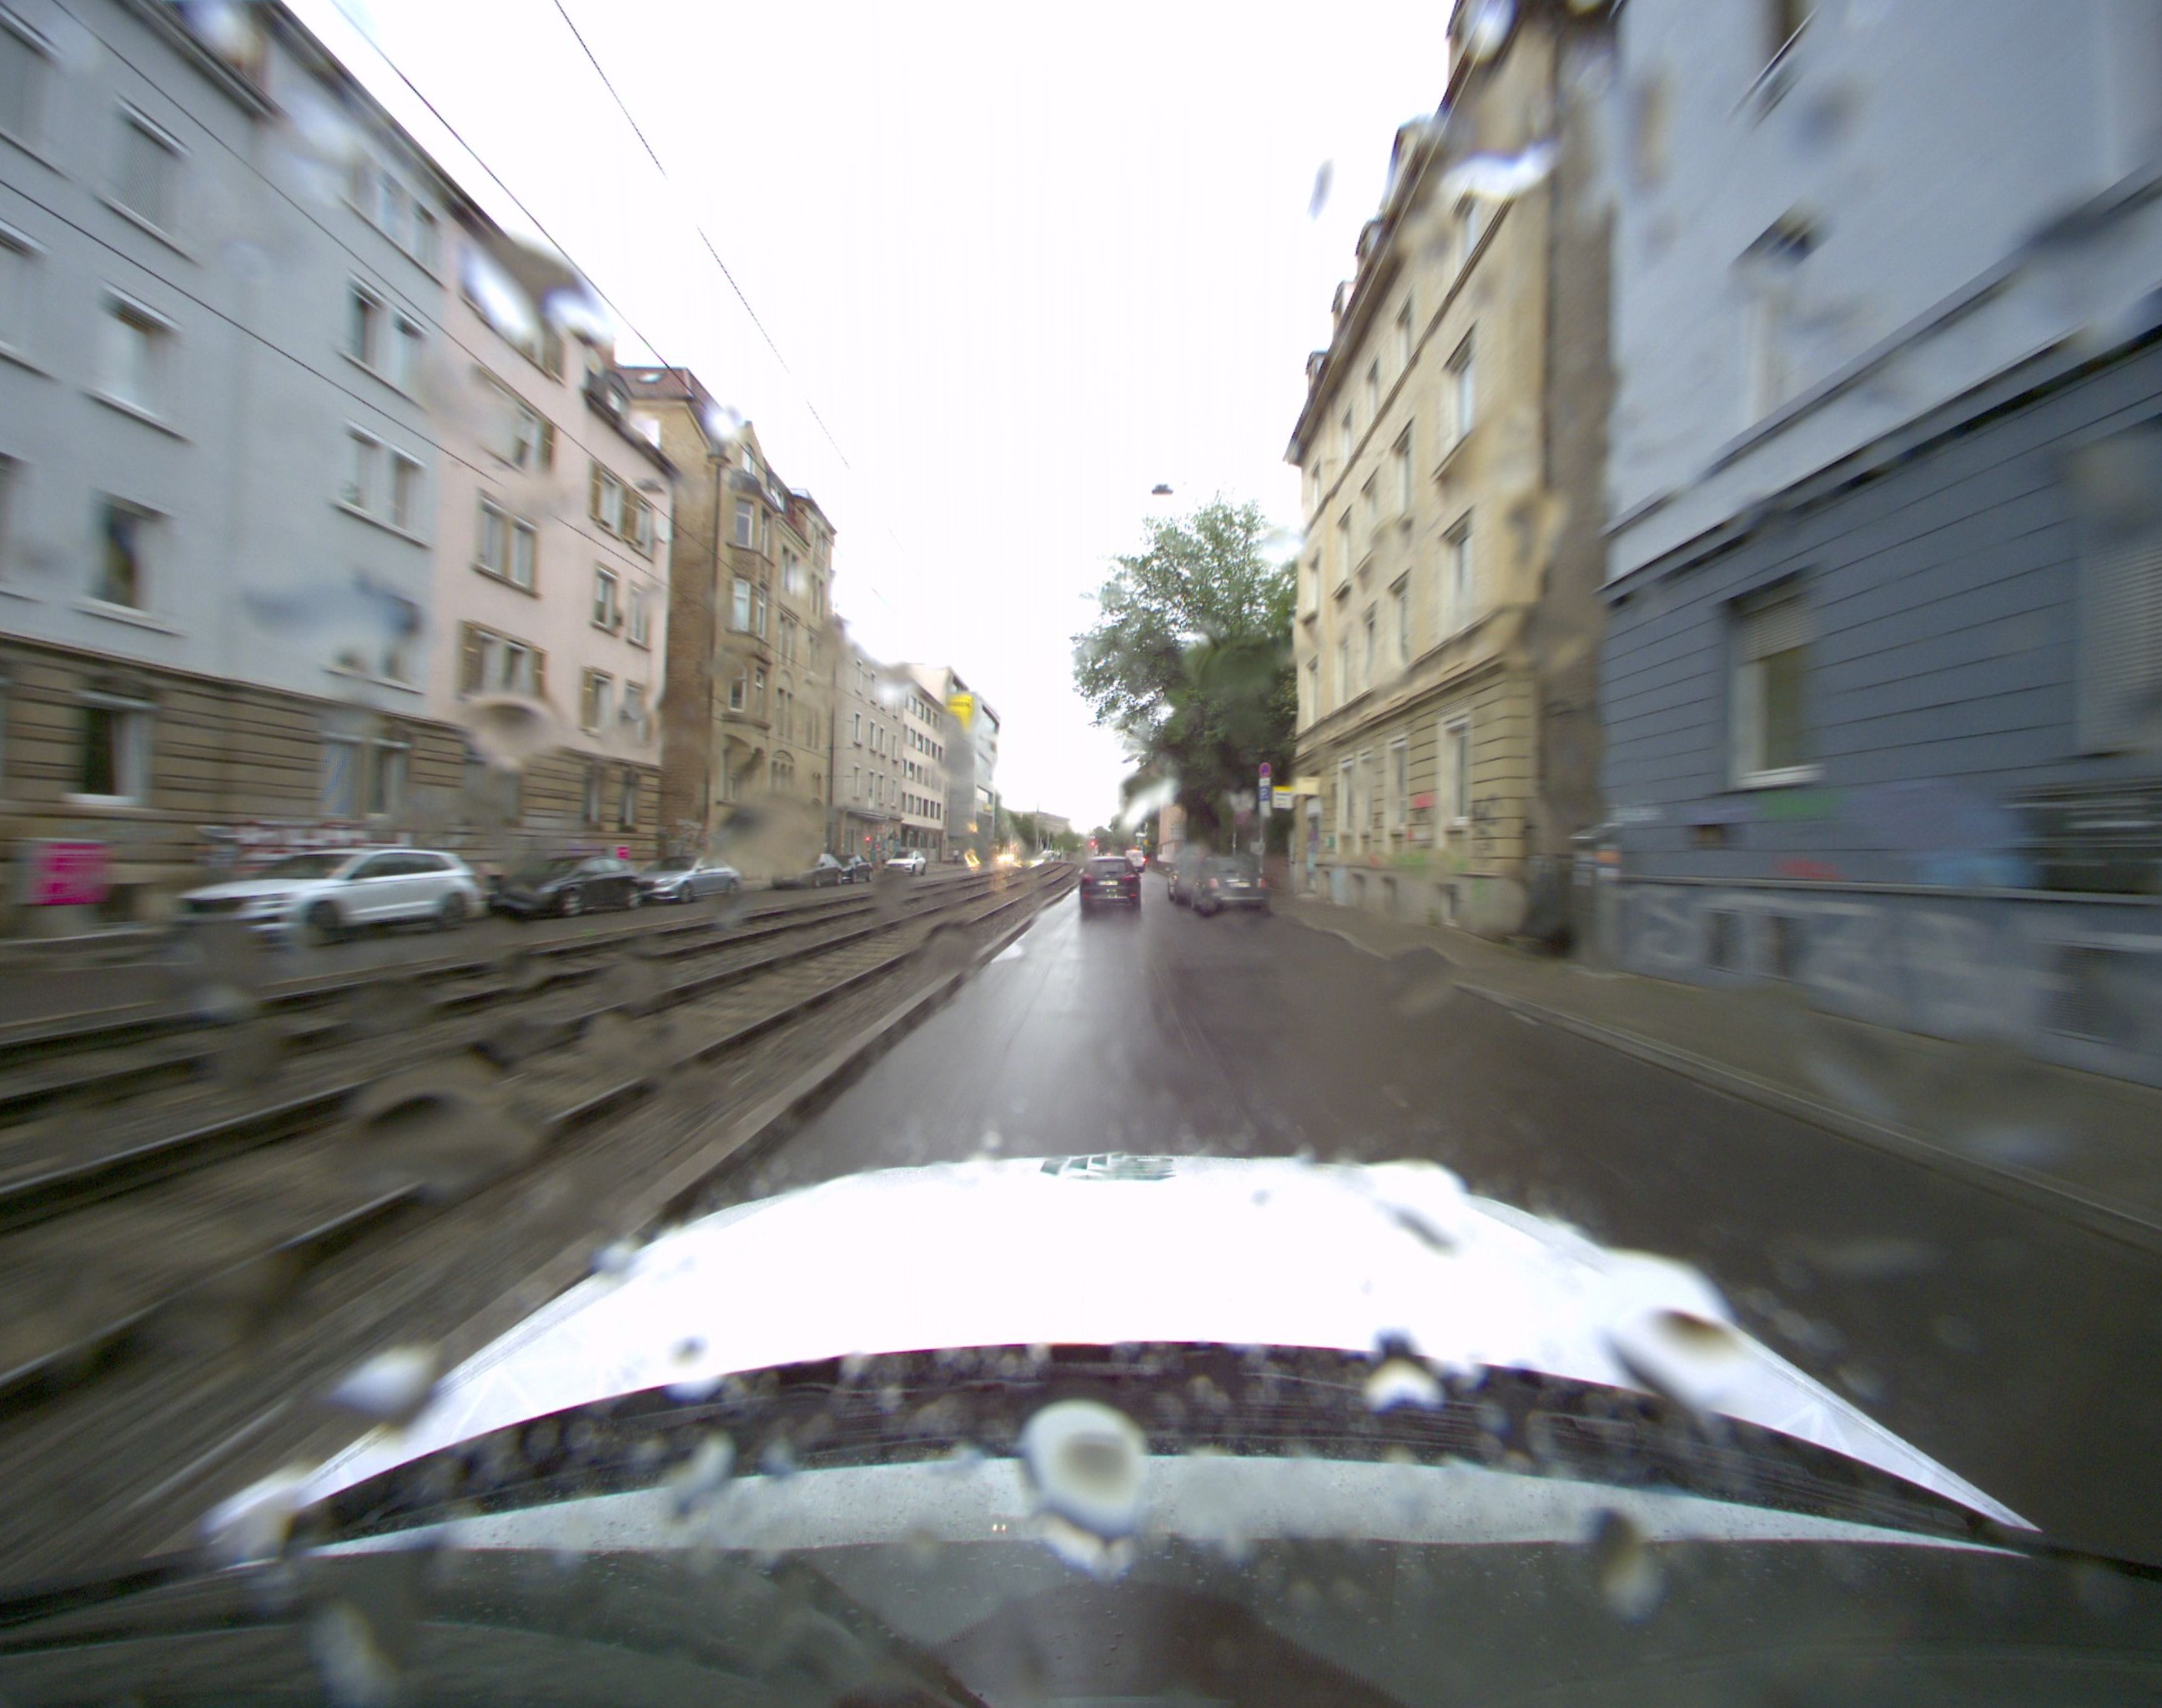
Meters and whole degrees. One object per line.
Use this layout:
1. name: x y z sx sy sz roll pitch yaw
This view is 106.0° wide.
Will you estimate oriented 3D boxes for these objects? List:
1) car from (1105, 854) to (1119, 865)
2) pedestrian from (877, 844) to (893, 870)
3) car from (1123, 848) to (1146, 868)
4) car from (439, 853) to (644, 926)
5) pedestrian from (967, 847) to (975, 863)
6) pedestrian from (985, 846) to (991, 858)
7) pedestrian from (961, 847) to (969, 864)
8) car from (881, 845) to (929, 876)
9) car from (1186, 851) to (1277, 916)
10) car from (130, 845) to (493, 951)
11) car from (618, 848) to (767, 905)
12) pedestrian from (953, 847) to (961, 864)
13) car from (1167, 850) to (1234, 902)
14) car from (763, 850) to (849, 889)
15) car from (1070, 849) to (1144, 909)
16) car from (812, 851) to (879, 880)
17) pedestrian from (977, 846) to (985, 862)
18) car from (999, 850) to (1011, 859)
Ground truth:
1. car: 4.543 0.797 120.383 1.985 1.594 4.273 1 -1 2
2. pedestrian: -13.744 0.214 57.110 0.799 1.750 0.984 1 0 1
3. car: 4.834 0.400 74.301 1.985 1.816 4.273 1 -1 2
4. car: -12.744 0.769 19.642 1.986 1.519 4.211 2 0 2
5. pedestrian: -12.805 0.072 95.049 0.741 1.854 0.839 0 -2 1
6. pedestrian: -14.353 -0.341 125.444 0.741 1.854 0.839 0 -2 1
7. pedestrian: -12.678 0.141 88.926 0.741 1.854 0.839 0 -2 1
8. car: -11.413 0.400 53.163 1.987 1.839 5.069 2 0 0
9. car: 3.844 0.693 21.396 1.732 1.489 4.001 1 0 1
10. car: -12.968 0.657 14.244 1.986 1.519 4.437 2 0 2
11. car: -11.718 0.632 25.043 1.986 1.519 4.994 2 0 2
12. pedestrian: -13.507 0.165 88.934 0.741 1.854 0.839 0 -2 1
13. car: 3.743 0.644 26.119 1.637 1.516 4.040 1 0 1
14. car: -11.946 0.641 35.701 1.986 1.519 4.678 2 0 2
15. car: 0.796 0.704 24.065 1.985 1.594 4.273 1 -1 2
16. car: -11.942 0.550 41.603 1.986 1.376 4.240 1 0 2
17. pedestrian: -11.706 0.028 95.394 0.741 1.854 0.839 0 -2 1
18. car: -13.503 0.104 144.113 1.991 1.442 3.992 1 0 -6
